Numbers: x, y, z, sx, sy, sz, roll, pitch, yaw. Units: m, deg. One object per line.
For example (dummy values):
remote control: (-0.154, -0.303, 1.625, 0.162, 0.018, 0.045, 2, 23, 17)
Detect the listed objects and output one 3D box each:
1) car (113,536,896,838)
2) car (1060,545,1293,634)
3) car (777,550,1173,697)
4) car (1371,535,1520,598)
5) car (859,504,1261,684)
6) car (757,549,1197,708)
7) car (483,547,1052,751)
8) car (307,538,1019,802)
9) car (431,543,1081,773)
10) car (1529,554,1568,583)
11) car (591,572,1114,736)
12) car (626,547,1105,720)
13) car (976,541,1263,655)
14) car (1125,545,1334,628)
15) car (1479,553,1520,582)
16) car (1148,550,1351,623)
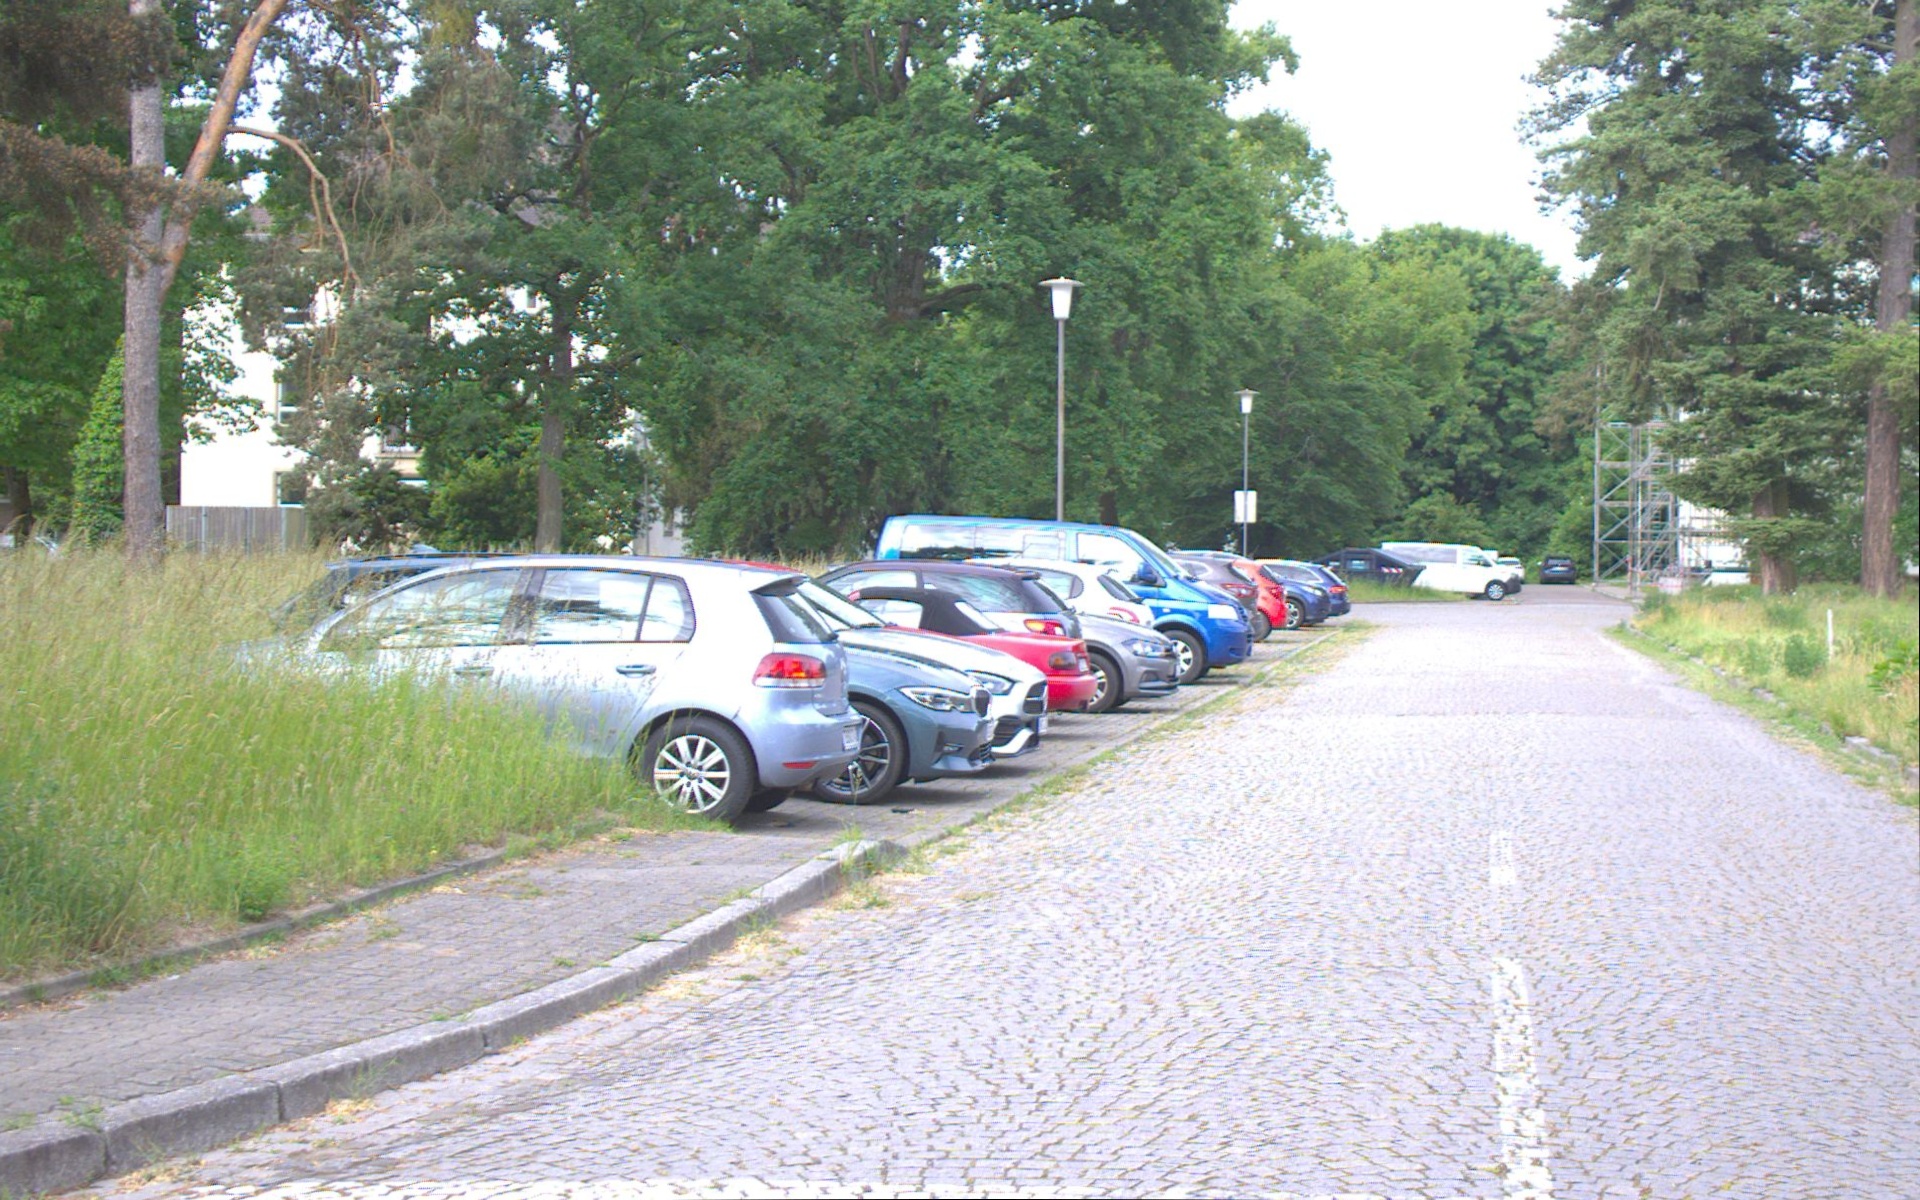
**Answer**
car: (-2.487, 0.438, 19.335, 3.988, 1.537, 1.905, 1, 1, 8)
car: (3.918, -0.206, 61.954, 4.056, 1.520, 1.904, 1, 1, 7)
car: (0.196, 0.228, 37.703, 4.069, 1.492, 1.845, 1, 1, 10)
car: (17.539, -1.204, 124.351, 5.236, 2.160, 2.000, 1, 1, 7)
car: (1.288, -0.099, 42.884, 4.783, 2.115, 2.114, 1, 1, 8)
car: (0.204, 0.259, 34.740, 4.168, 1.486, 1.864, 1, 1, 10)
car: (-1.467, 0.349, 27.039, 4.167, 1.471, 1.864, 1, 1, 8)
car: (-1.822, 0.403, 21.993, 4.251, 1.542, 1.935, 1, 1, 5)
car: (-1.399, 0.376, 24.704, 4.375, 1.502, 1.935, 1, 1, 7)
car: (32.361, -1.747, 189.093, 1.951, 1.516, 3.999, 1, 1, 7)
car: (-0.877, 0.432, 29.349, 4.168, 1.262, 1.830, 1, 1, 10)
car: (-0.842, 0.281, 32.029, 4.168, 1.477, 1.845, 1, 1, 10)
car: (2.430, -0.048, 51.694, 4.167, 1.616, 1.986, 1, 1, 6)
car: (5.661, -0.301, 72.069, 4.229, 1.571, 1.887, 2, 1, 8)
car: (29.671, -1.778, 189.222, 2.119, 1.516, 3.999, 1, 1, 8)
car: (6.467, -0.314, 76.702, 4.305, 1.456, 1.974, 2, 1, 10)
